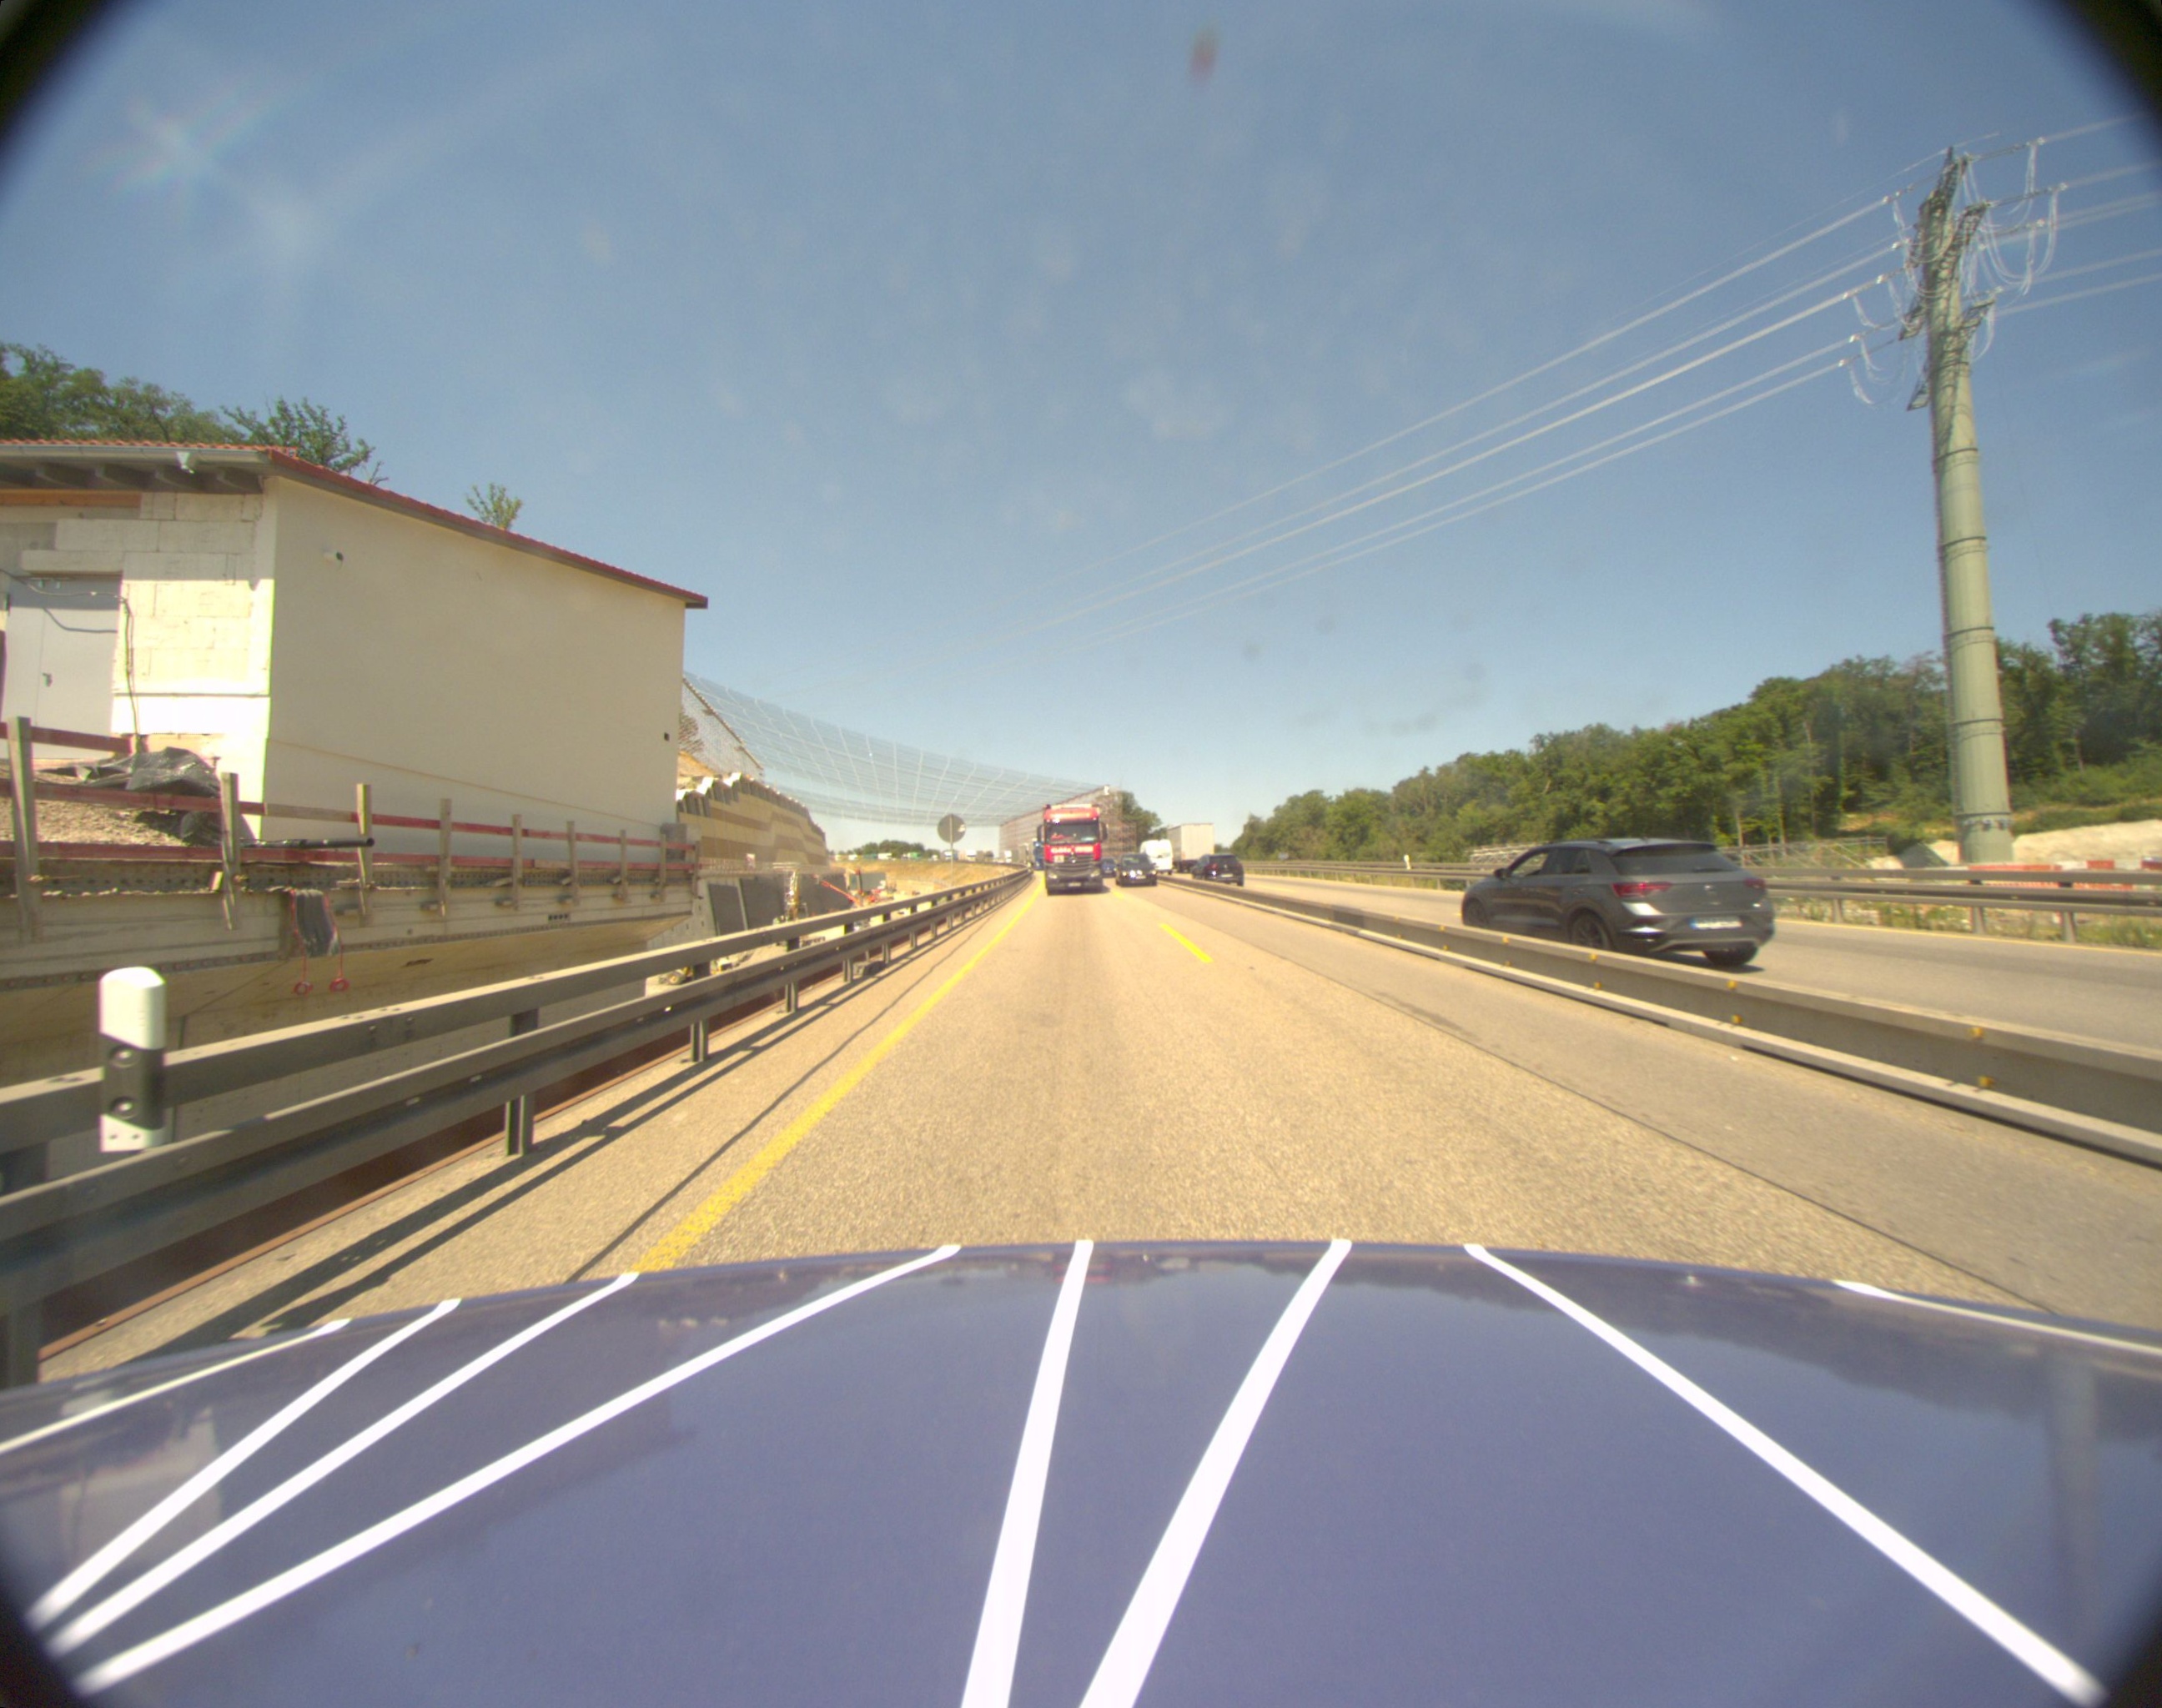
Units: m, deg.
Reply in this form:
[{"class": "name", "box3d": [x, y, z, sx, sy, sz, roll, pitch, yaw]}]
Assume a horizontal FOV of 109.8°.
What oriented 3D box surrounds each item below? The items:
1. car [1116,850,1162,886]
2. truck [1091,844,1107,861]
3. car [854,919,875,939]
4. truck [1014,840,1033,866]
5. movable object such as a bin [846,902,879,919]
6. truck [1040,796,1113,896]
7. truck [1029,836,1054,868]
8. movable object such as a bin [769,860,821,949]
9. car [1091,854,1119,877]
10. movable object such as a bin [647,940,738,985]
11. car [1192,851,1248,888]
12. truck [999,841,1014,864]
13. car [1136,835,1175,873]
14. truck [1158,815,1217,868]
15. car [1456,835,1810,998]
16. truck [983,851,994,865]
[{"class": "car", "box3d": [2.941, 0.703, 39.591, 1.861, 1.695, 5.303, -2, -1, -1]}, {"class": "truck", "box3d": [3.063, -0.277, 128.332, 2.211, 2.847, 6.497, -3, 1, -2]}, {"class": "car", "box3d": [-27.847, 9.632, 97.895, 2.000, 2.002, 3.997, -3, 1, -7]}, {"class": "truck", "box3d": [-9.907, -0.263, 130.149, 2.911, 4.207, 9.235, -3, 1, -5]}, {"class": "movable object such as a bin", "box3d": [-36.268, 9.305, 125.880, 5.485, 2.621, 2.224, -2, 1, 37]}, {"class": "truck", "box3d": [-0.324, -0.381, 36.503, 2.798, 3.986, 10.426, -3, 1, -2]}, {"class": "truck", "box3d": [-5.471, -0.349, 103.341, 2.673, 3.986, 10.422, -3, 1, -6]}, {"class": "movable object such as a bin", "box3d": [-25.215, 4.274, 67.251, 2.935, 7.311, 6.233, -3, 1, -11]}, {"class": "car", "box3d": [1.737, 0.838, 56.966, 1.896, 1.546, 4.786, -2, -1, 0]}, {"class": "movable object such as a bin", "box3d": [-26.816, 7.466, 52.583, 5.119, 2.577, 2.060, -3, 0, 0]}, {"class": "car", "box3d": [6.288, 0.667, 34.817, 1.734, 1.542, 4.035, -3, 0, -1]}, {"class": "truck", "box3d": [-16.863, -0.359, 171.140, 3.043, 4.778, 8.935, -3, 1, -6]}, {"class": "car", "box3d": [5.571, -0.033, 57.580, 1.975, 2.664, 6.658, -2, 1, -3]}, {"class": "truck", "box3d": [8.821, -1.095, 64.134, 2.808, 3.977, 10.547, -3, 1, -3]}, {"class": "car", "box3d": [6.748, 0.646, 9.925, 1.743, 1.632, 4.001, -3, 0, 2]}, {"class": "truck", "box3d": [-27.347, 1.076, 224.828, 3.043, 4.033, 8.669, -3, 1, -7]}]
